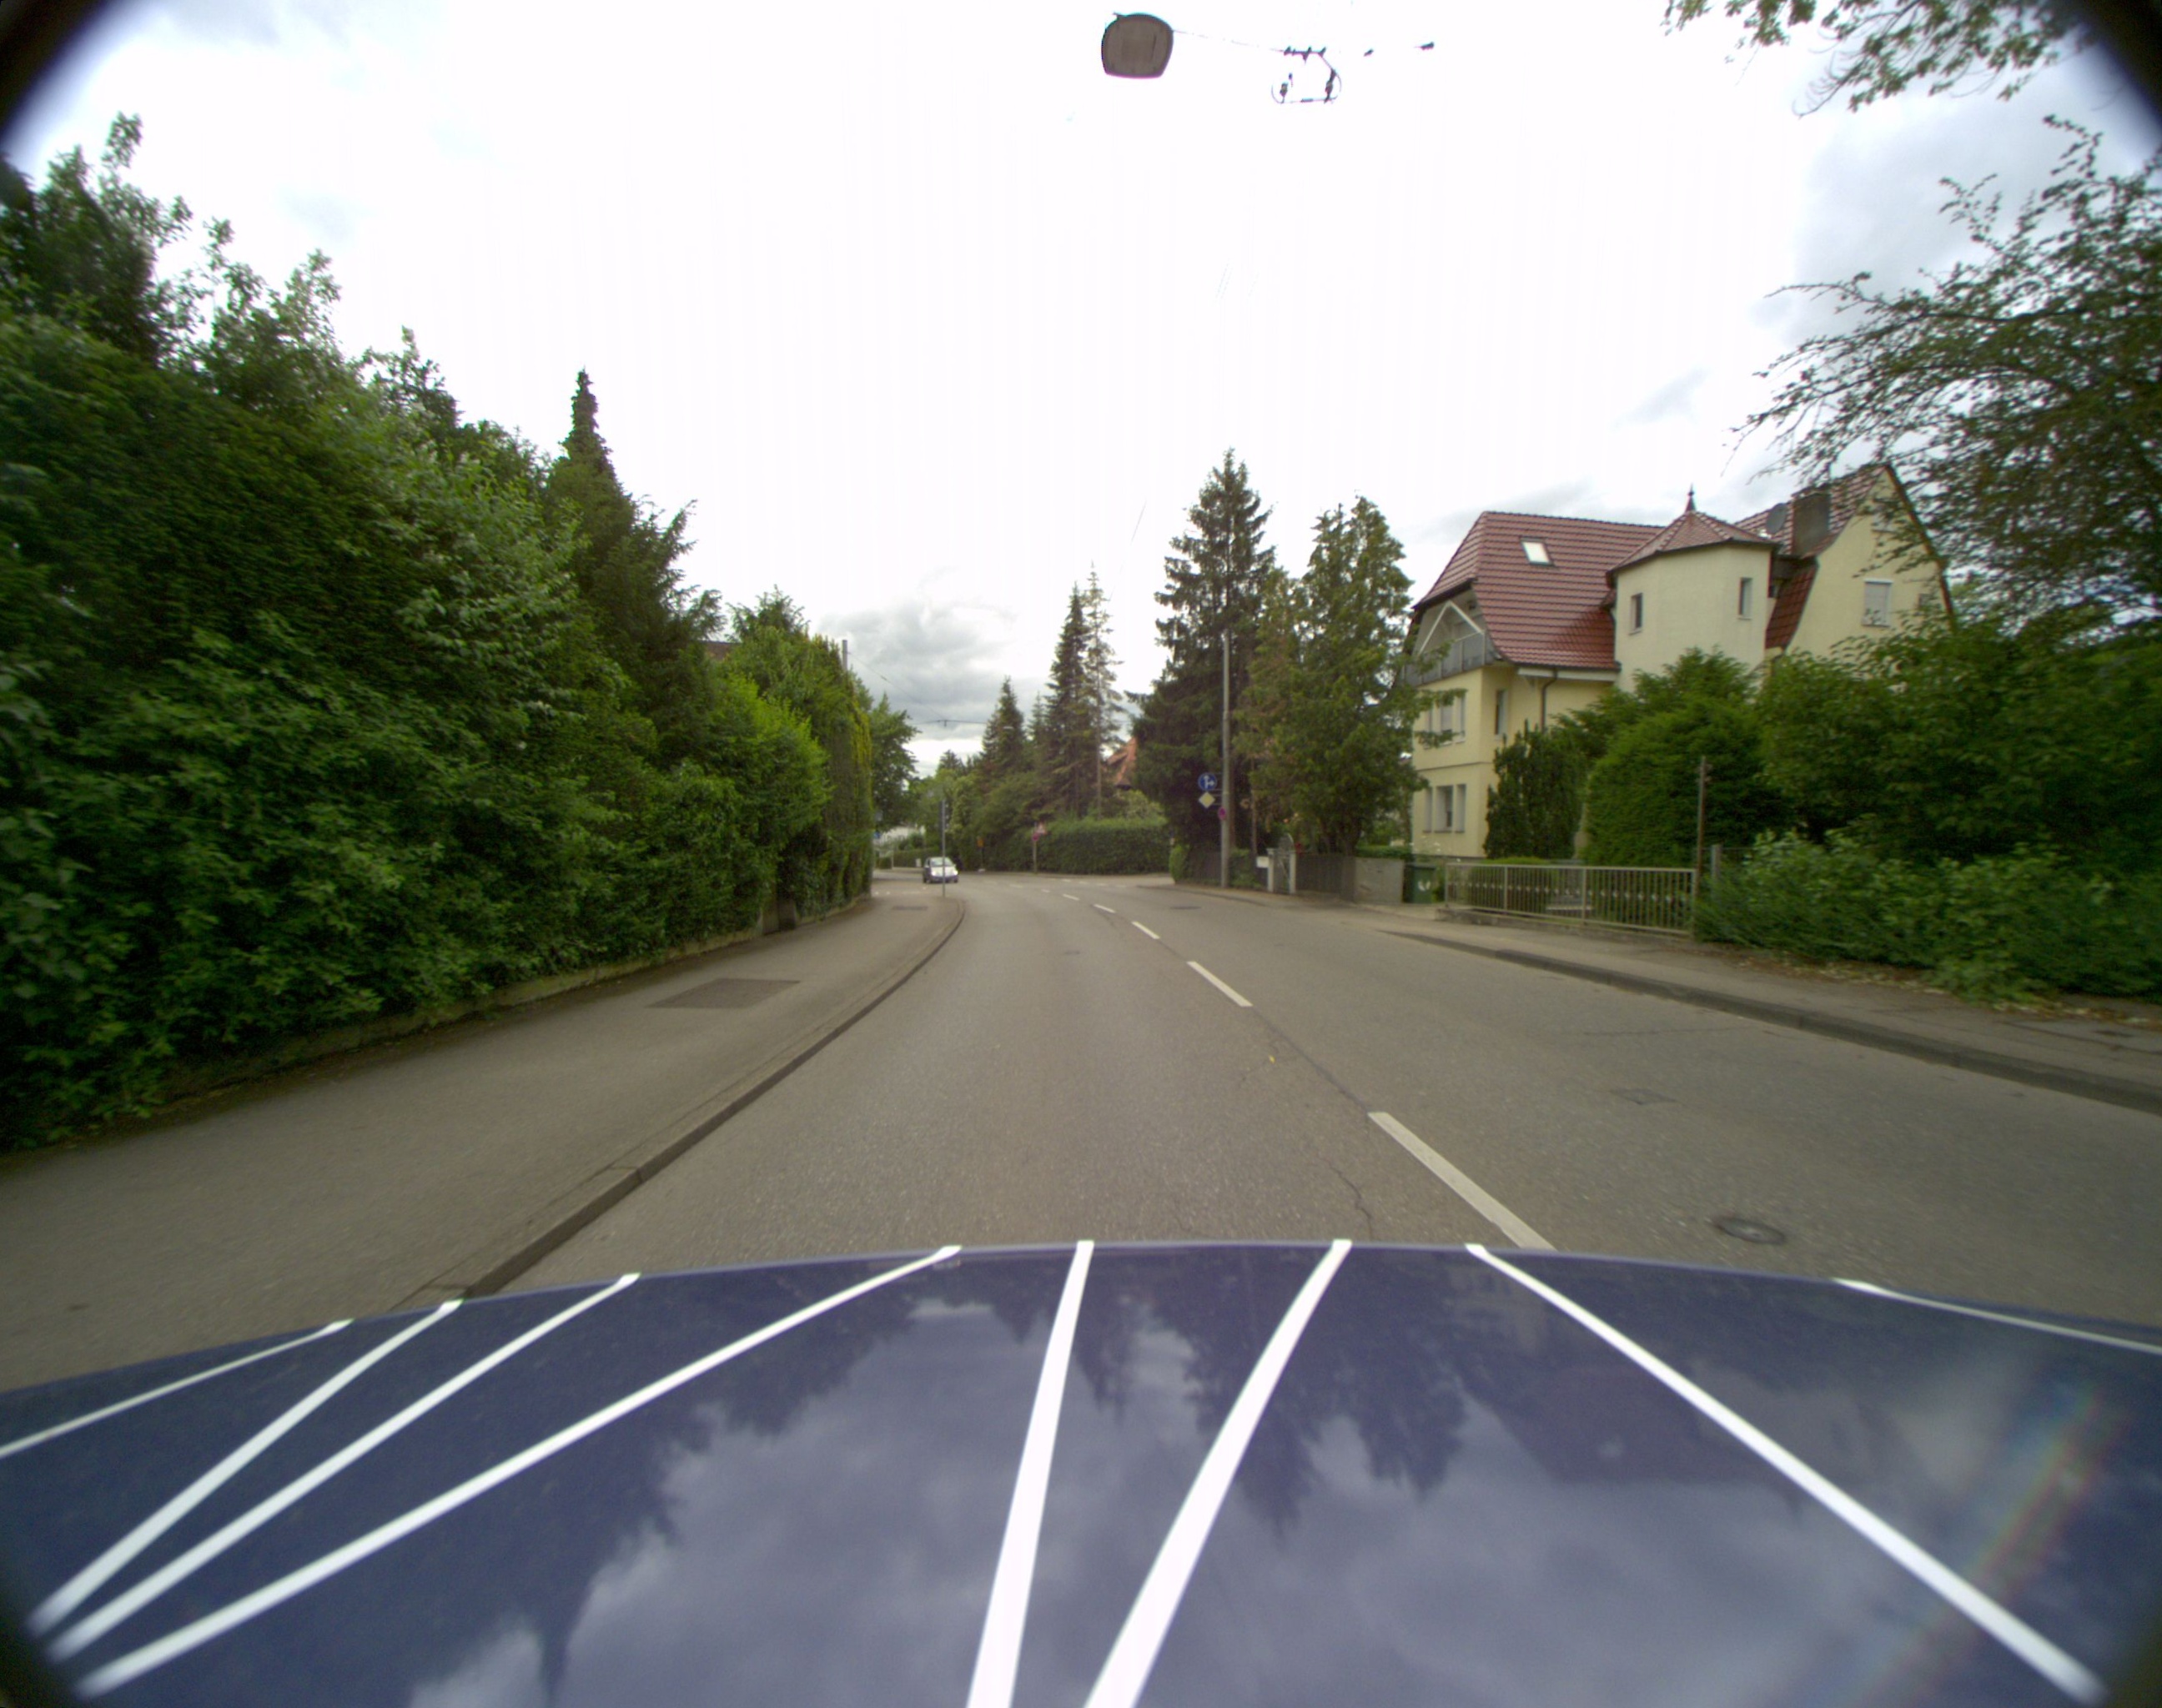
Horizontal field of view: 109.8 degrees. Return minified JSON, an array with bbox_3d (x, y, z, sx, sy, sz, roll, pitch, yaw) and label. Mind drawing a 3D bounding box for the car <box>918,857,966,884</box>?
[{"bbox_3d":[-8.695,0.983,47.167,2.002,1.586,3.992,-1,0,-24],"label":"car"}]
